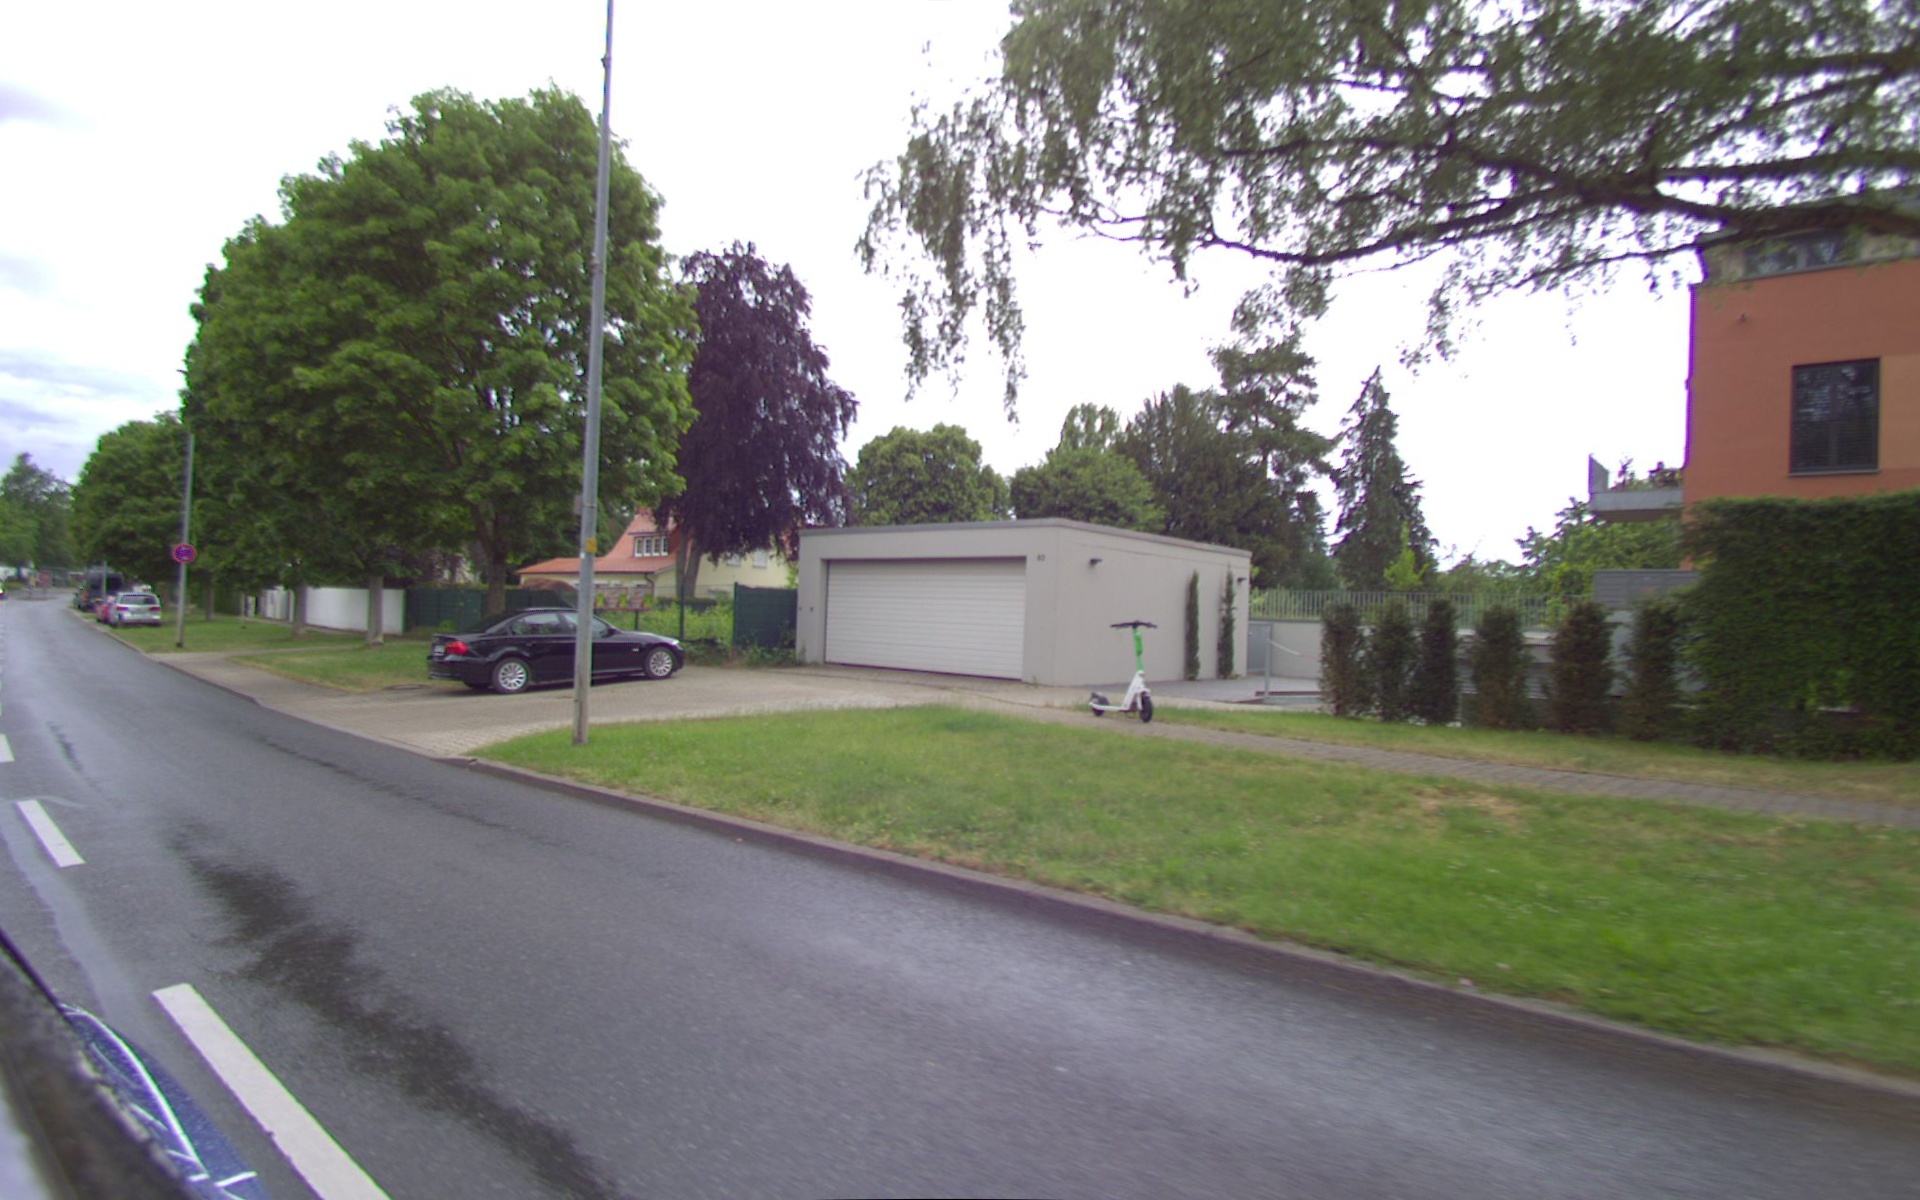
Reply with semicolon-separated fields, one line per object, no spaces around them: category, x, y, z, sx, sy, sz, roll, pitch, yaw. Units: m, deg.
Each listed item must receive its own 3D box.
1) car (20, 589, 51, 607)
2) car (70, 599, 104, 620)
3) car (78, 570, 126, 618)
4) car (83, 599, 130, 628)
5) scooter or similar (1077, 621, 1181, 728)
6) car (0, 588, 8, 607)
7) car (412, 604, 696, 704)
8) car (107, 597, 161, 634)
car;-81.330;-0.183;89.103;1.867;1.552;4.006;0;0;-41
car;-58.909;0.626;68.259;1.681;1.334;3.848;-1;1;-41
car;-53.637;-0.388;63.213;2.215;2.860;5.052;0;1;-41
car;-41.851;0.626;49.613;1.681;1.334;3.848;-1;1;-41
scooter or similar;1.951;0.835;11.897;0.418;1.167;1.495;-1;-1;-24
car;-81.716;-0.165;85.357;1.867;1.552;4.007;0;0;-40
car;-7.162;0.865;18.170;4.377;1.428;1.757;-3;1;-45
car;-37.715;0.696;46.168;1.749;1.619;4.006;2;-1;-41
